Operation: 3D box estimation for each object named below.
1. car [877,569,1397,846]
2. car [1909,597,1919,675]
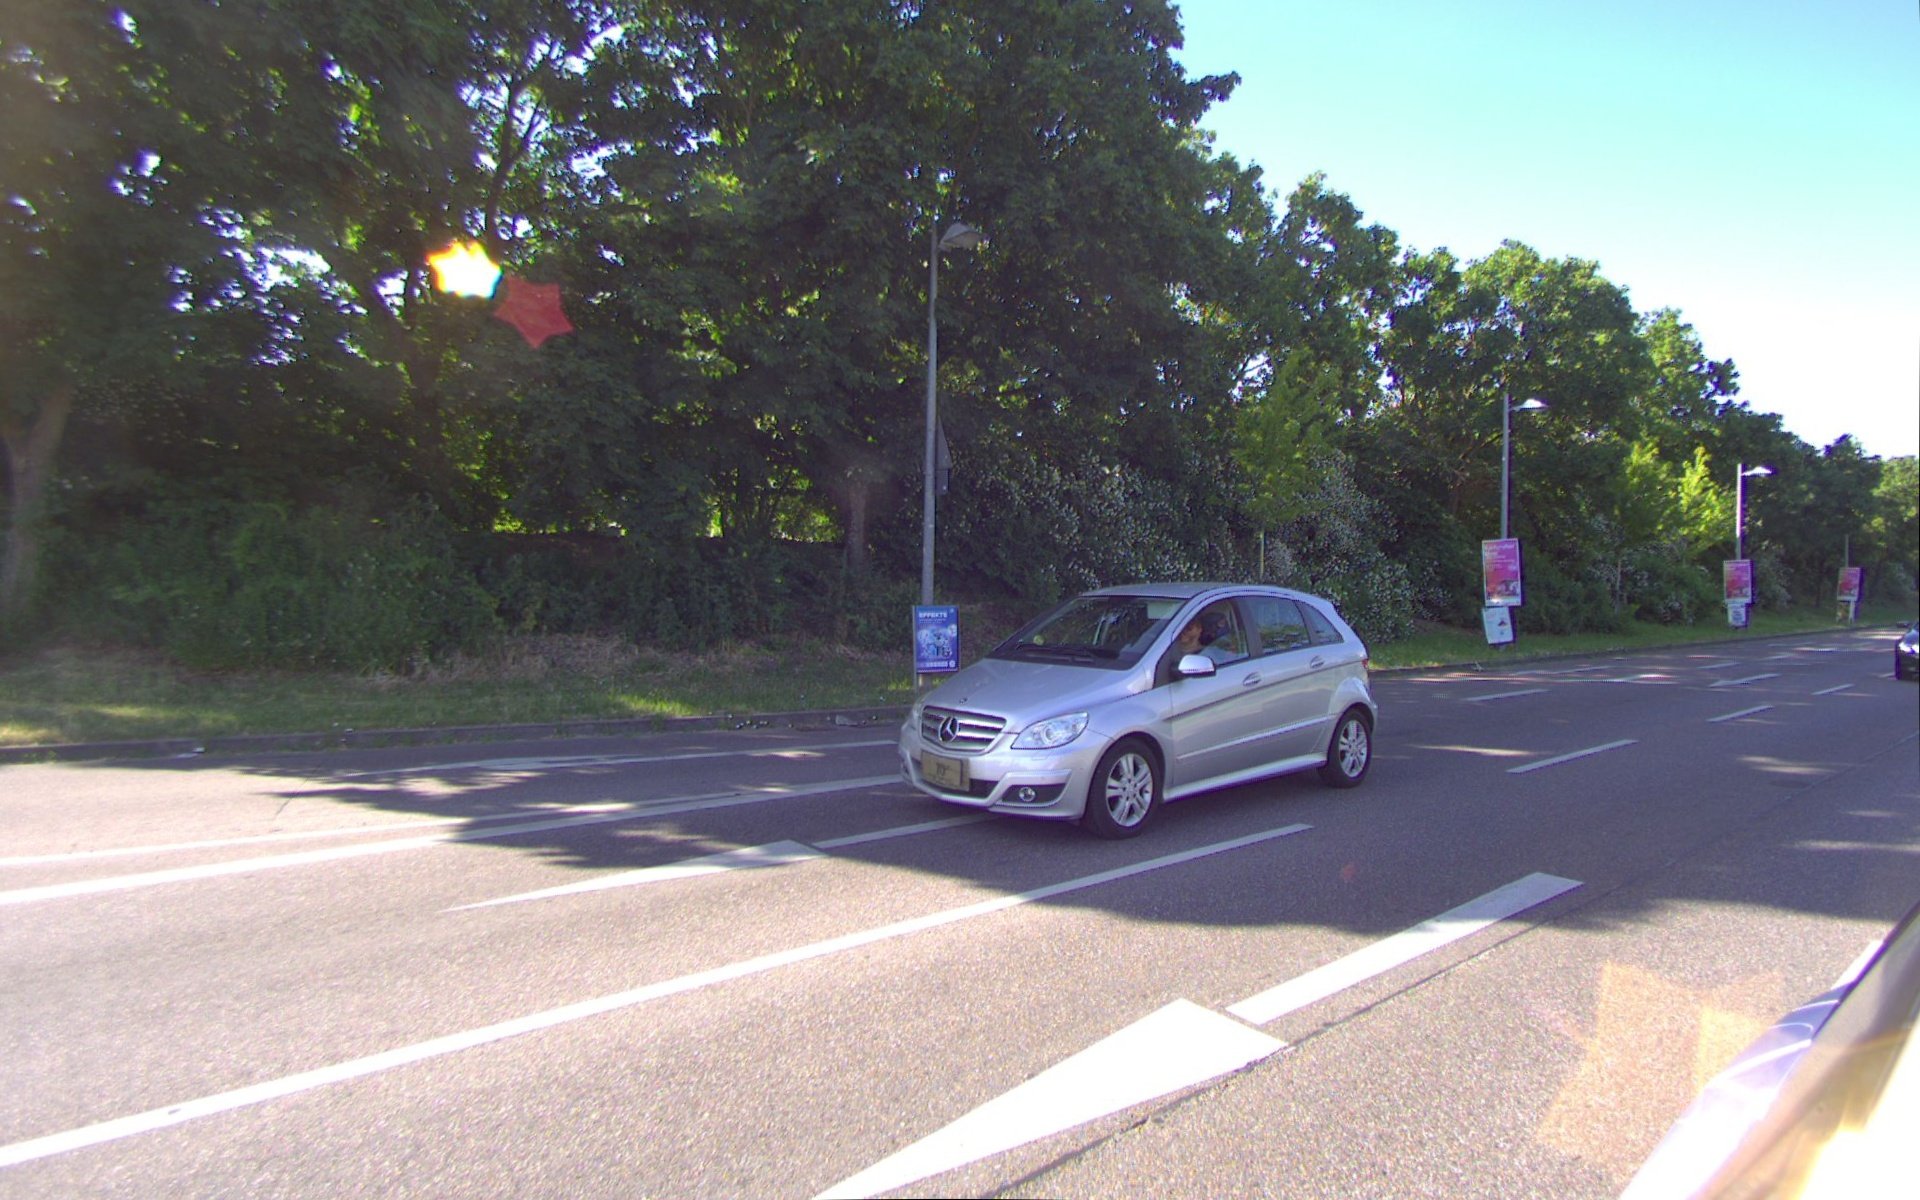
[{"bbox_3d":[1.492,0.577,7.610,3.988,1.559,1.672,0,1,-40],"label":"car"},{"bbox_3d":[19.826,0.654,19.515,4.143,1.426,1.830,-1,1,-41],"label":"car"}]
